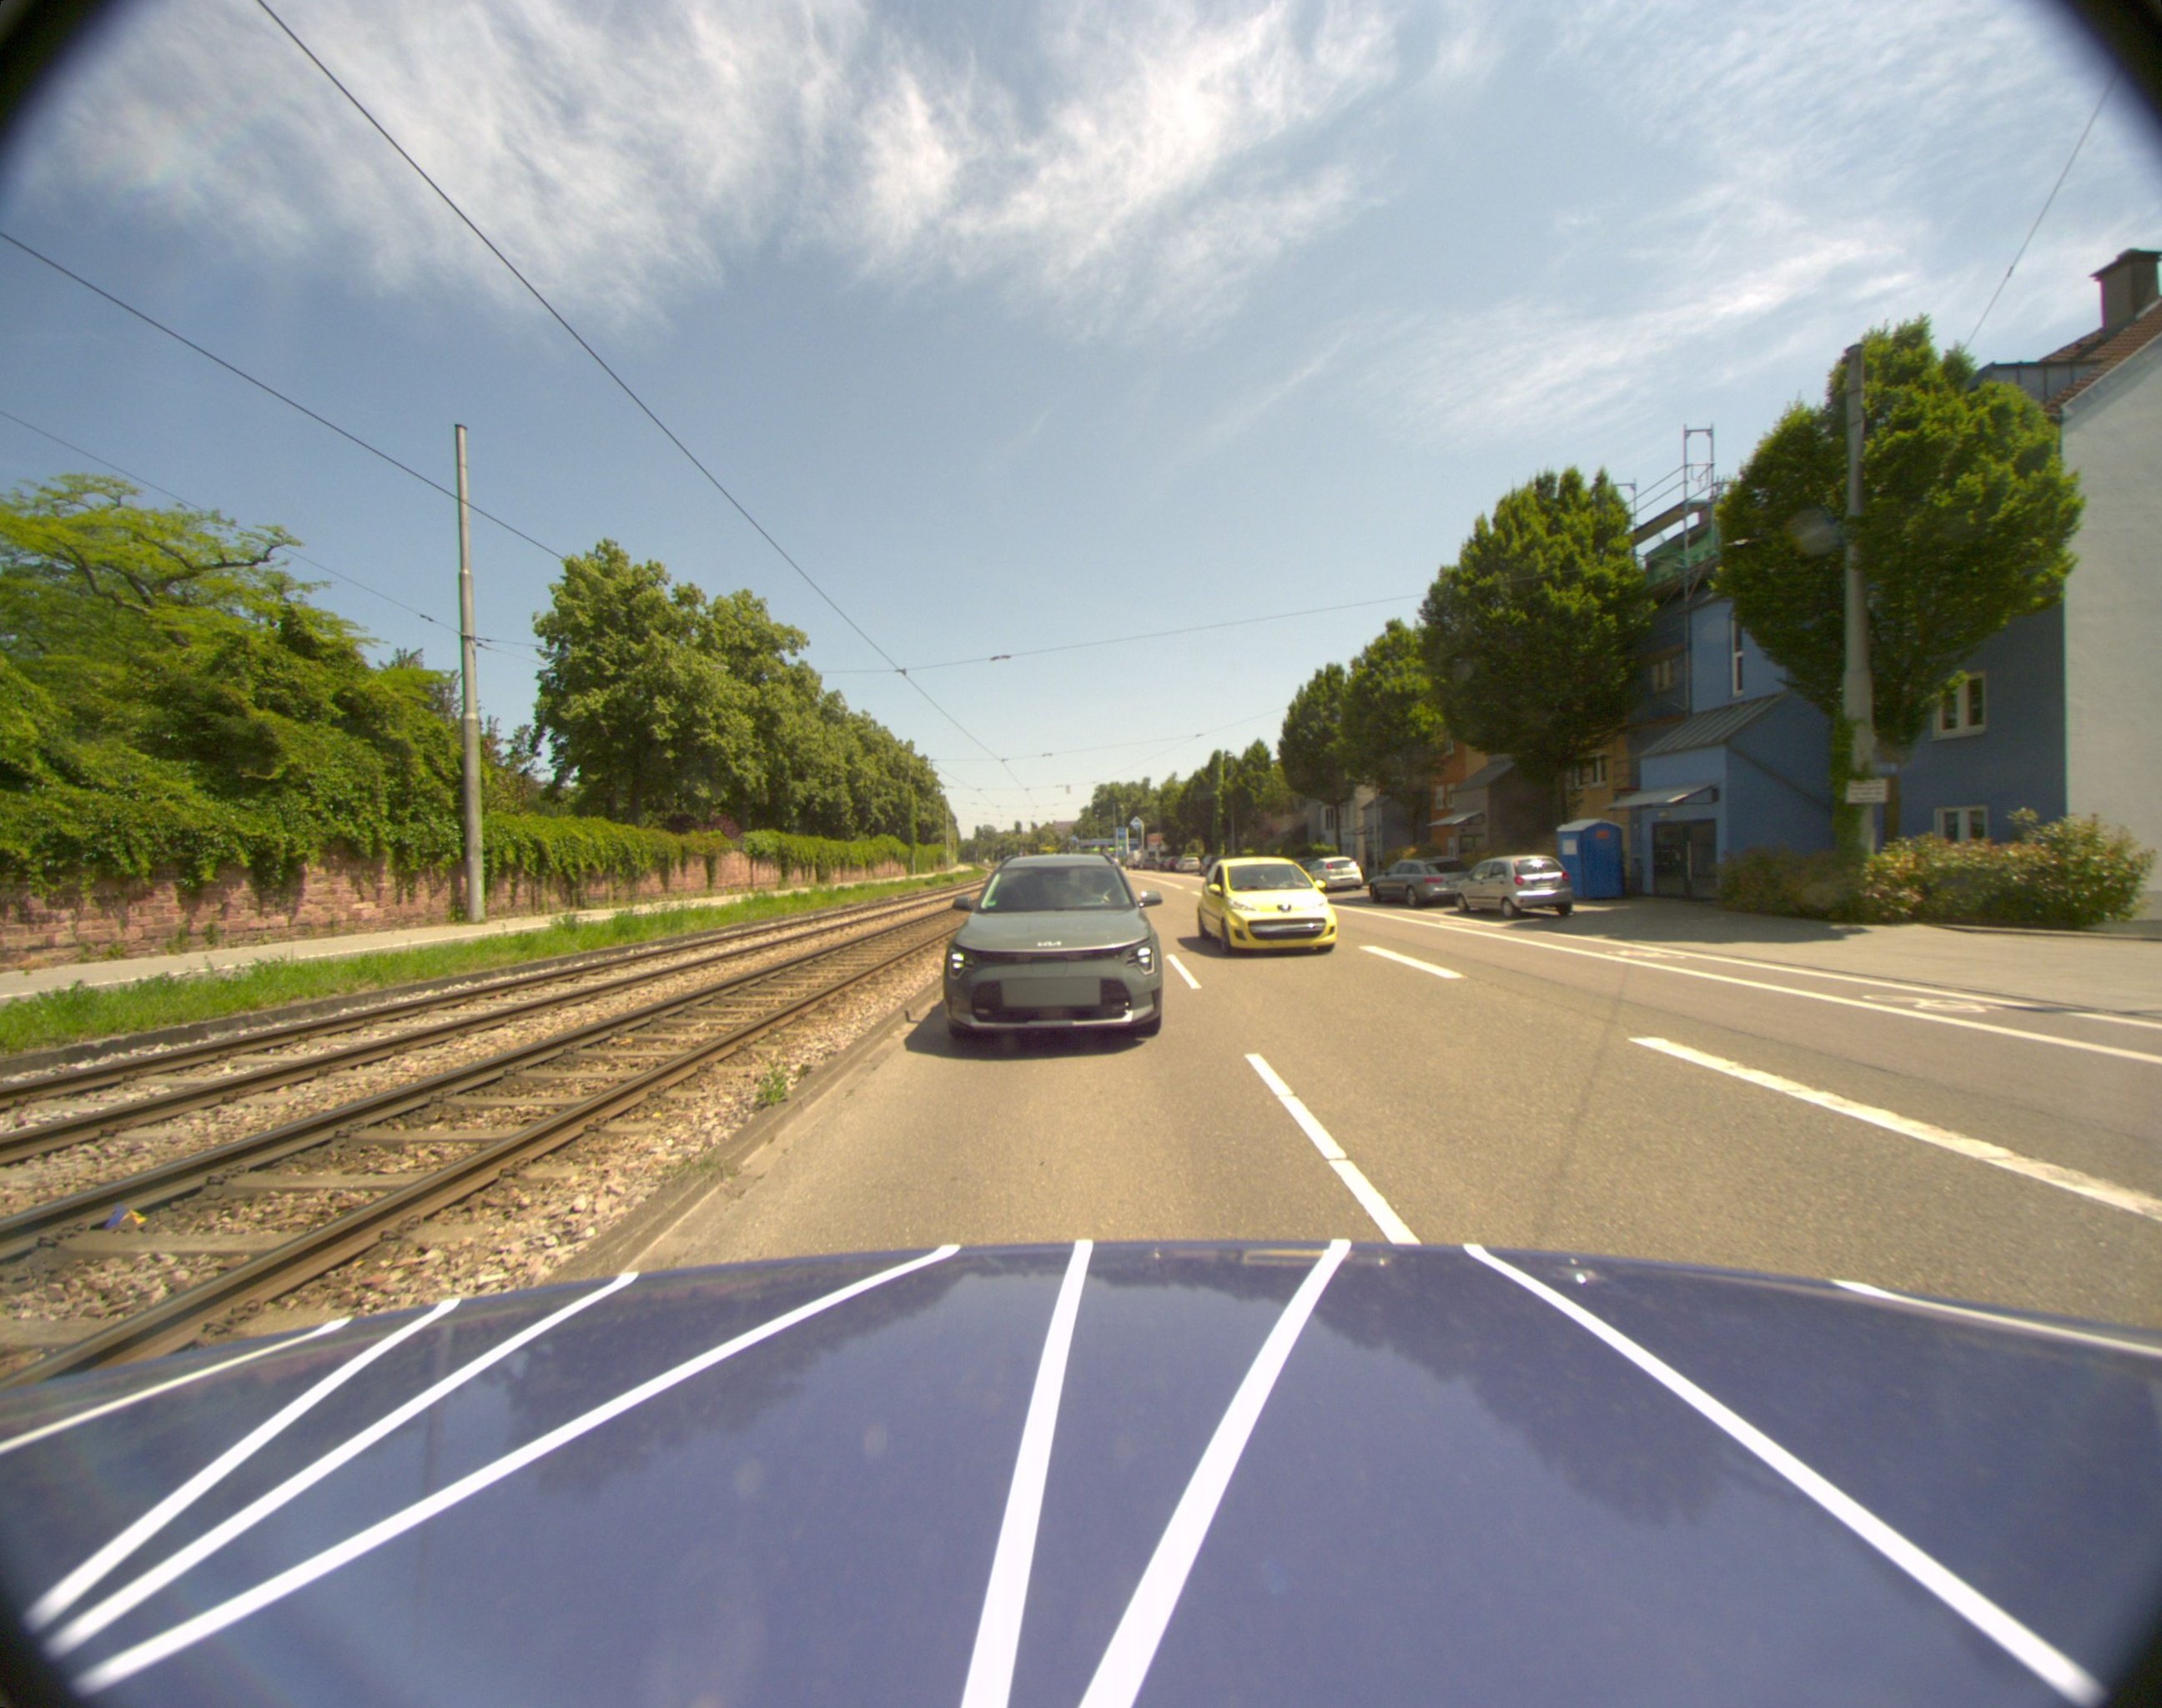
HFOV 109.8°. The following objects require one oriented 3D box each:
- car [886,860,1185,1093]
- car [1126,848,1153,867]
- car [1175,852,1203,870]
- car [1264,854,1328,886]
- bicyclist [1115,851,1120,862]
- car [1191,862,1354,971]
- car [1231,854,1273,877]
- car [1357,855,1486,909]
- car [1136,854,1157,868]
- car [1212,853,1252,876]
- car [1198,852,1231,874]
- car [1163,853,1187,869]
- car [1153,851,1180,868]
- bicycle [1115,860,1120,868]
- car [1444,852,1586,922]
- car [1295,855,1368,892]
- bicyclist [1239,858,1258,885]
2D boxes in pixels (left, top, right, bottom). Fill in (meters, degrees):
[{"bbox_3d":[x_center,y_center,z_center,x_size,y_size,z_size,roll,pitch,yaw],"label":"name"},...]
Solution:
[{"bbox_3d":[-0.227,0.902,7.441,2.062,1.534,4.001,-4,0,3],"label":"car"},{"bbox_3d":[7.657,0.457,99.772,2.285,2.294,5.226,-3,0,-8],"label":"car"},{"bbox_3d":[10.442,0.712,73.737,1.845,1.573,4.495,-3,0,-2],"label":"car"},{"bbox_3d":[11.255,0.813,40.148,1.708,1.421,4.750,-6,0,-3],"label":"car"},{"bbox_3d":[5.027,0.276,104.724,0.737,1.496,0.737,0,1,1],"label":"bicyclist"},{"bbox_3d":[2.917,0.883,12.326,1.695,1.403,3.515,-3,0,0],"label":"car"},{"bbox_3d":[11.506,0.746,51.305,1.754,1.424,4.257,-4,0,0],"label":"car"},{"bbox_3d":[10.957,0.852,24.935,1.791,1.441,5.133,-5,-1,0],"label":"car"},{"bbox_3d":[8.062,0.859,93.558,1.870,1.528,4.142,-3,0,-4],"label":"car"},{"bbox_3d":[11.178,0.755,56.595,1.830,1.487,4.756,-3,0,-1],"label":"car"},{"bbox_3d":[10.920,0.730,62.416,1.772,1.579,4.147,-3,0,-3],"label":"car"},{"bbox_3d":[9.835,0.750,79.630,1.604,1.584,3.680,-3,0,-6],"label":"car"},{"bbox_3d":[9.506,0.583,84.838,1.999,1.783,4.556,-2,0,-5],"label":"car"},{"bbox_3d":[5.022,1.397,104.759,0.641,1.089,1.639,1,1,1],"label":"bicycle"},{"bbox_3d":[11.021,0.788,19.572,1.597,1.487,3.448,-6,0,1],"label":"car"},{"bbox_3d":[11.375,0.845,34.796,1.750,1.434,4.420,-6,0,0],"label":"car"},{"bbox_3d":[9.127,0.943,41.464,0.737,1.422,1.124,2,0,-2],"label":"bicyclist"}]
